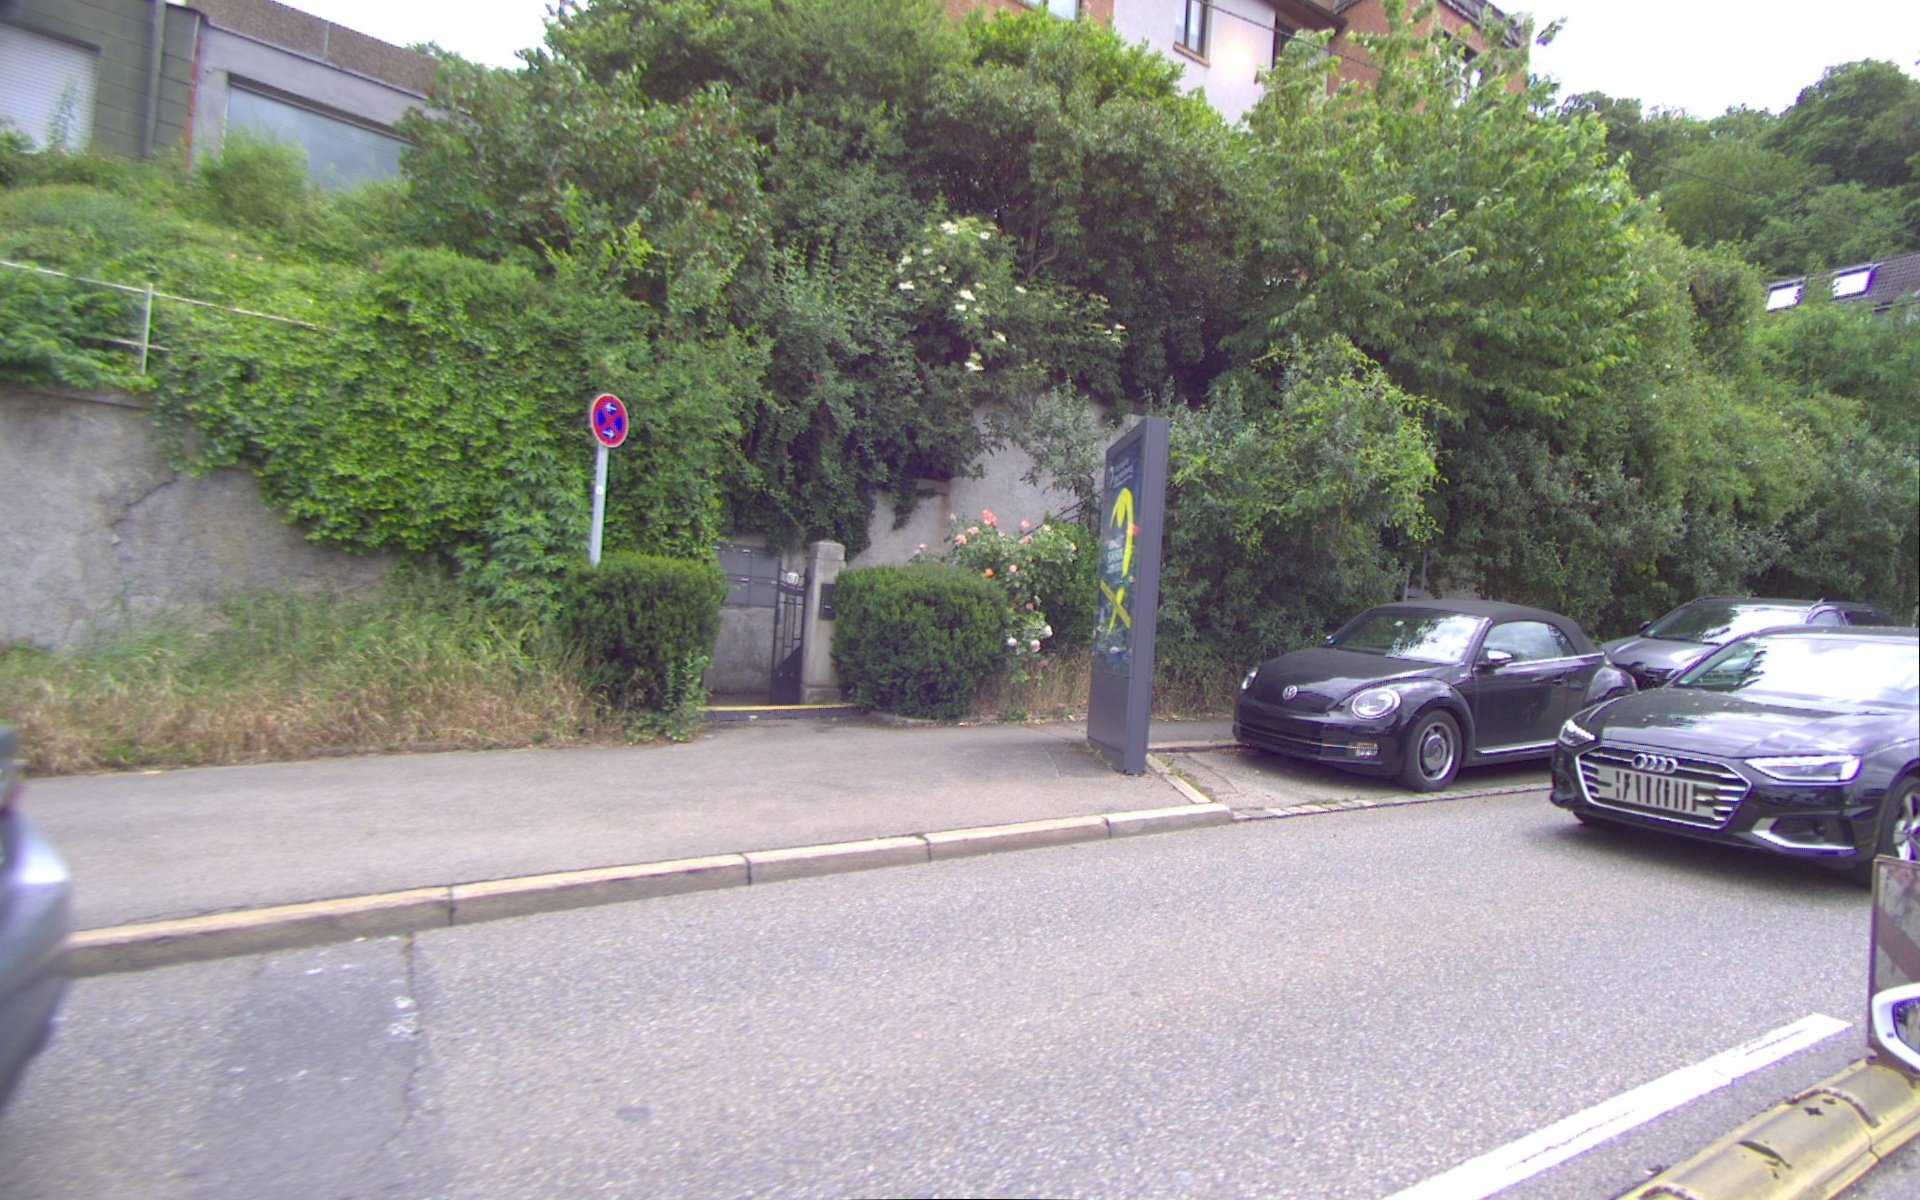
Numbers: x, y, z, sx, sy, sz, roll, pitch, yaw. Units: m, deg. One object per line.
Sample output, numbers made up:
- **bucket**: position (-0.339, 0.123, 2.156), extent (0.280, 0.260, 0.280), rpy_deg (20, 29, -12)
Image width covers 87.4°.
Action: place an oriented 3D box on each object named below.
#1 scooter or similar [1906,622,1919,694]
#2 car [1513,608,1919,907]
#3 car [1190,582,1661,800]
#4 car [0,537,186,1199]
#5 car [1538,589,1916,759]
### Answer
- **scooter or similar**: position (17.030, 1.011, 17.520), extent (1.031, 1.229, 0.348), rpy_deg (1, 2, -24)
- **car**: position (6.005, 0.863, 6.826), extent (4.305, 1.466, 1.789), rpy_deg (2, 0, -26)
- **car**: position (4.204, 0.691, 9.005), extent (3.951, 1.530, 1.786), rpy_deg (1, 2, -29)
- **car**: position (-3.655, 0.569, 1.039), extent (4.279, 1.502, 1.786), rpy_deg (2, 1, -31)
- **car**: position (8.844, 0.778, 11.563), extent (4.130, 1.627, 1.681), rpy_deg (2, 2, -25)
